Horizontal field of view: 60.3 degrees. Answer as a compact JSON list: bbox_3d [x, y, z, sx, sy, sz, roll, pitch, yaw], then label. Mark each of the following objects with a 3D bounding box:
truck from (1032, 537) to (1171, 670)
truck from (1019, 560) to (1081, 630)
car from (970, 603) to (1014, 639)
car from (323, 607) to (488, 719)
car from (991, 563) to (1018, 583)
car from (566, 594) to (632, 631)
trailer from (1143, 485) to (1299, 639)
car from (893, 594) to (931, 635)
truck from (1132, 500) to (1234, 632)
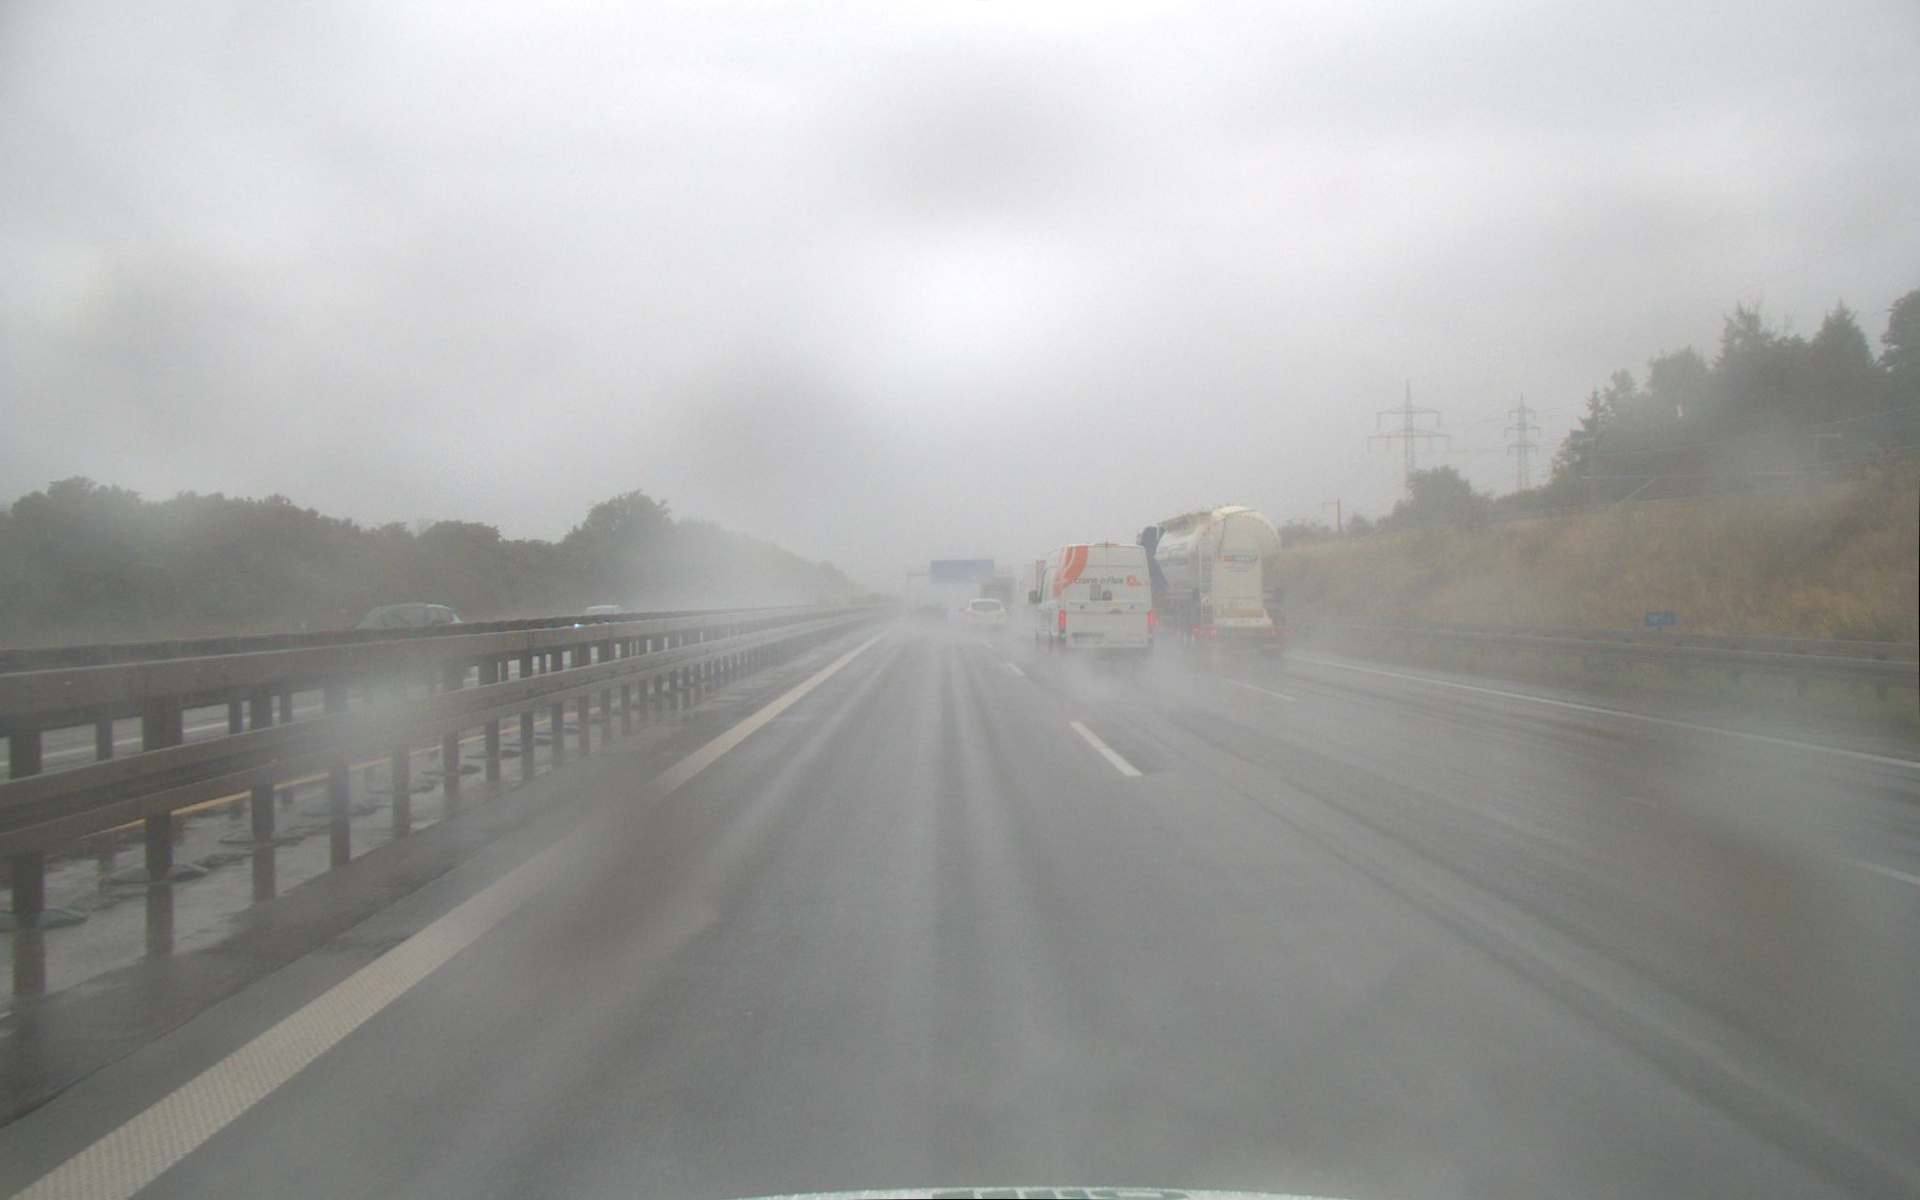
[{"bbox_3d":[2.867,0.063,34.858,2.370,2.536,5.559,1,0,-1],"label":"truck"},{"bbox_3d":[6.357,-0.244,119.342,2.979,4.668,16.342,1,-1,-2],"label":"truck"},{"bbox_3d":[1.239,0.812,65.049,1.573,1.361,3.847,1,0,-1],"label":"car"},{"bbox_3d":[-11.579,1.254,34.899,1.953,2.141,4.765,1,0,-1],"label":"car"},{"bbox_3d":[4.803,-2.944,179.603,2.732,2.049,4.991,1,0,-1],"label":"car"},{"bbox_3d":[-15.821,0.528,72.709,1.953,1.557,4.653,1,0,-1],"label":"car"},{"bbox_3d":[7.369,-0.983,48.298,2.447,3.950,11.062,1,0,-2],"label":"trailer"},{"bbox_3d":[-2.188,0.659,76.793,1.667,1.850,3.861,1,0,-1],"label":"car"},{"bbox_3d":[7.204,-1.055,53.891,2.446,4.053,5.074,1,0,-2],"label":"truck"}]
